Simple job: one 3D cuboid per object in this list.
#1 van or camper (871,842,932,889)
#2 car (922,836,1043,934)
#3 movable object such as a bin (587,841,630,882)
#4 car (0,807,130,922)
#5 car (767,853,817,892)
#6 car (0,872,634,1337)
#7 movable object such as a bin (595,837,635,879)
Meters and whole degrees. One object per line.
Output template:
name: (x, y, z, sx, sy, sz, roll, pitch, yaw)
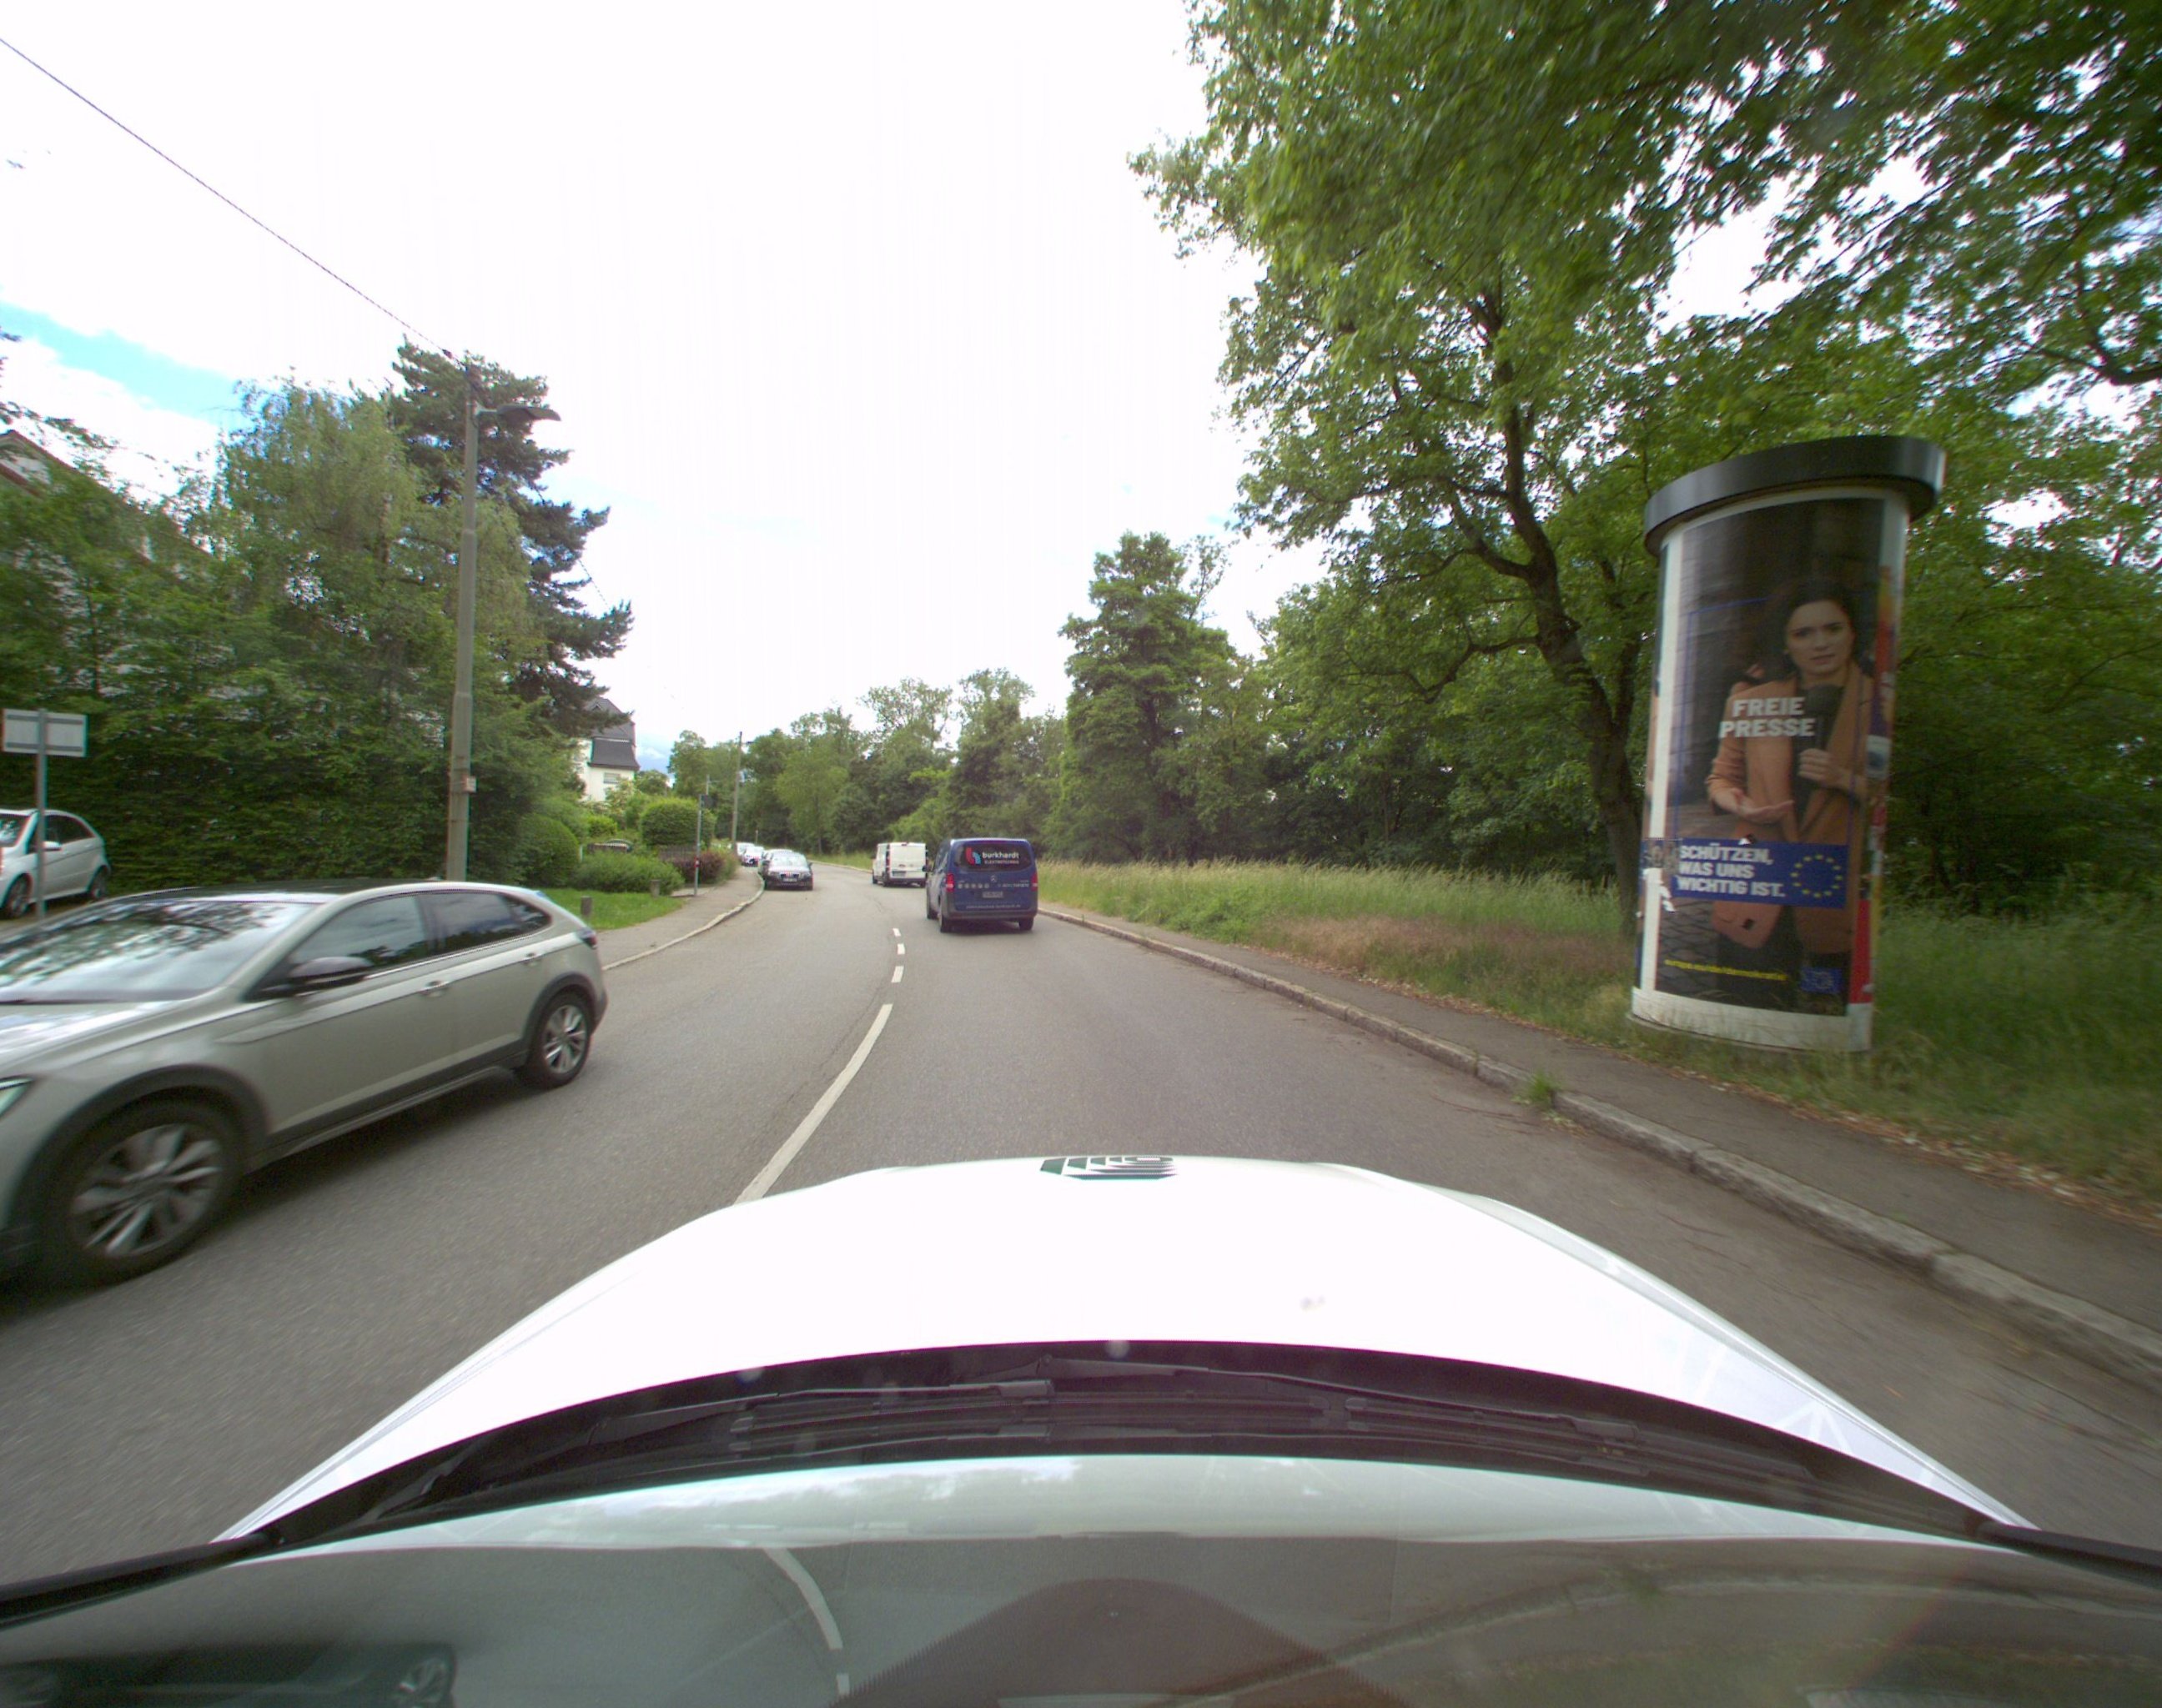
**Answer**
van or camper: (-8.190, 0.472, 36.774, 2.026, 1.957, 4.863, 1, 1, -20)
car: (-2.254, 0.586, 17.573, 1.917, 1.837, 4.270, 1, 0, -16)
movable object such as a bin: (-16.888, 0.262, 29.159, 1.119, 1.363, 1.383, 3, 1, -24)
car: (-16.765, 0.067, 12.500, 1.754, 1.594, 4.226, 3, -1, -35)
car: (-11.734, 0.707, 32.875, 1.741, 1.418, 4.472, 1, 0, -21)
car: (-4.428, 0.880, 4.488, 1.719, 1.457, 4.076, -2, 0, -1)
movable object such as a bin: (-17.467, 0.136, 30.551, 1.098, 1.467, 1.442, 3, 1, -24)
